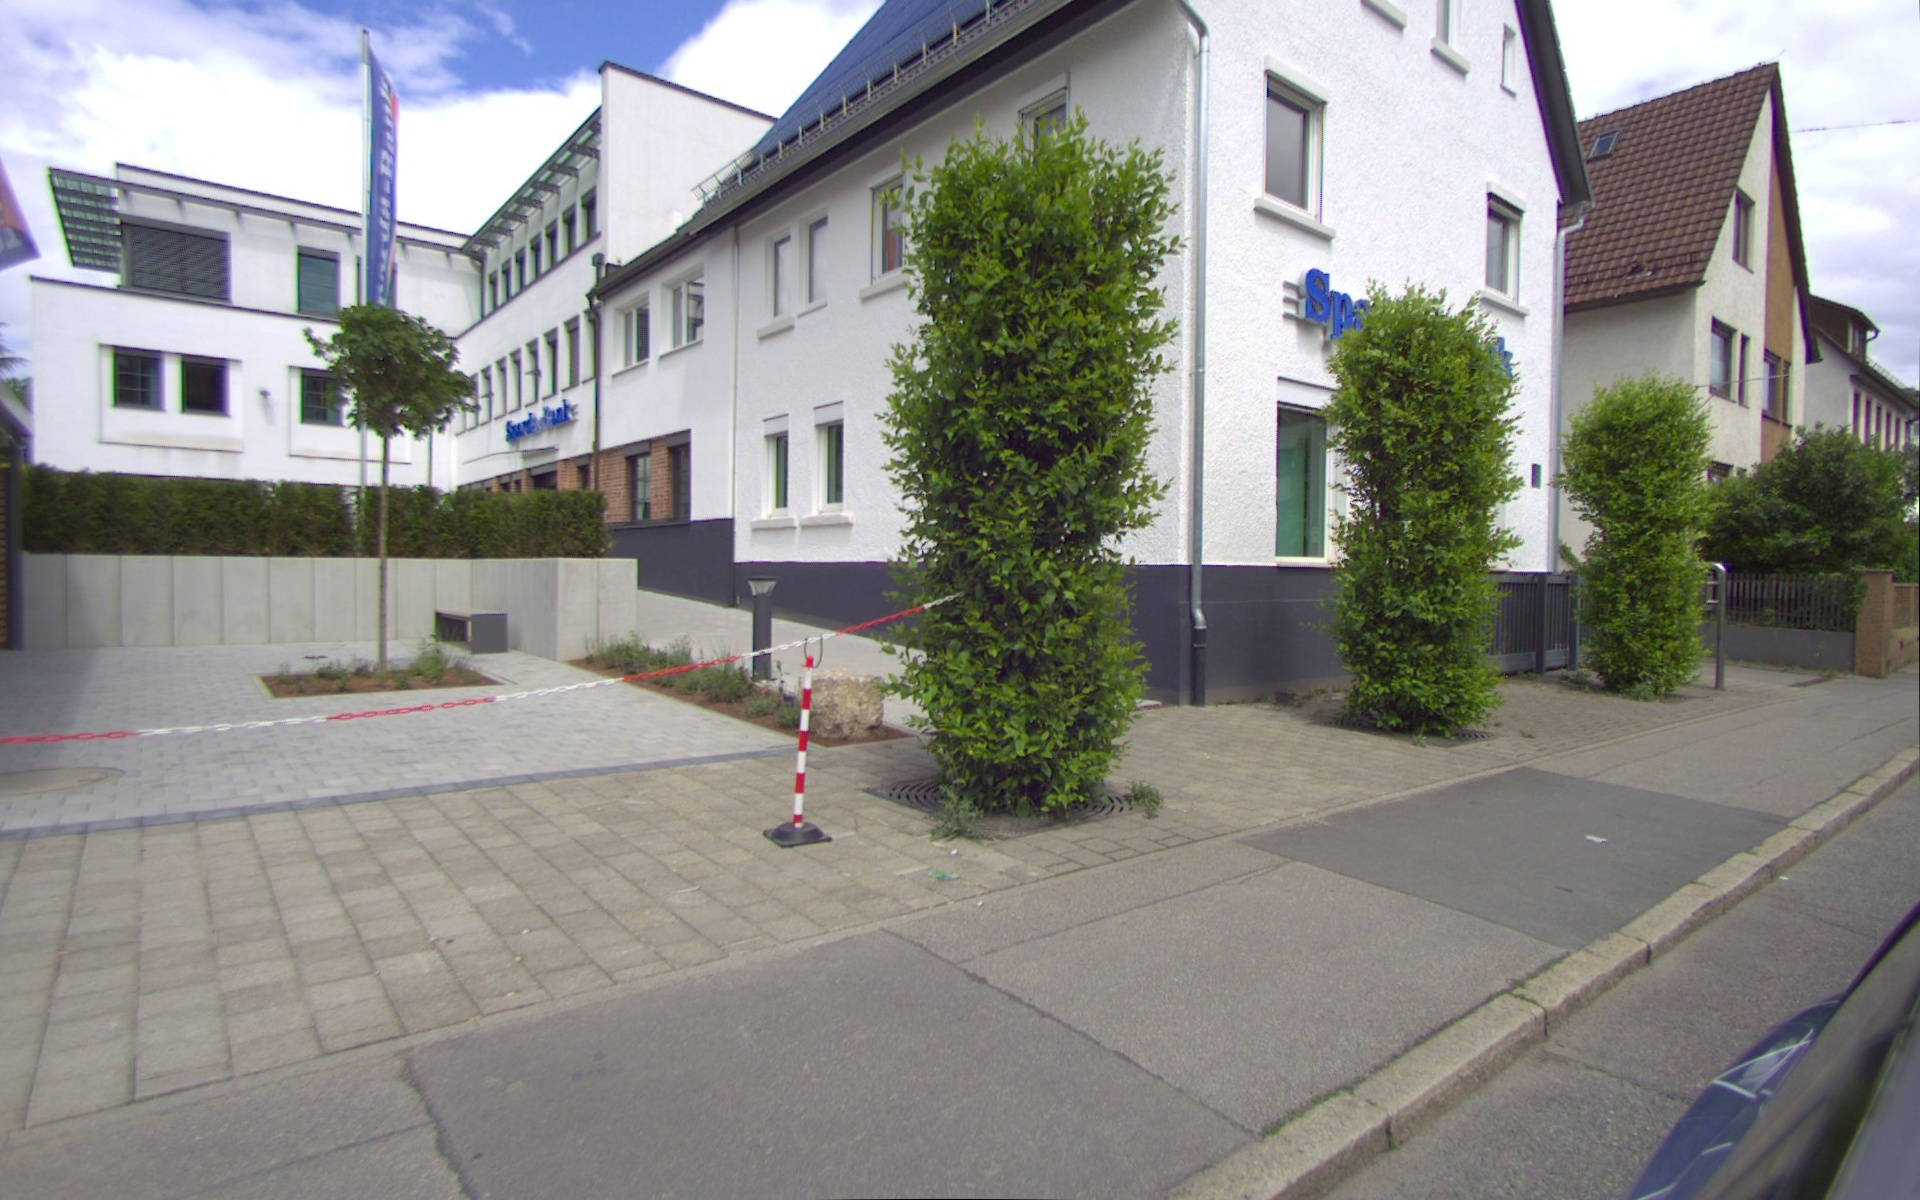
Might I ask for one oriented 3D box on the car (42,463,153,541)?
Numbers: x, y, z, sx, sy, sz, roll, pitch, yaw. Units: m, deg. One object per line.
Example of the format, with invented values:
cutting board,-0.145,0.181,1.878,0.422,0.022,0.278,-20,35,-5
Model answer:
car,-20.047,-2.203,23.500,1.822,1.492,3.993,-1,2,-42
